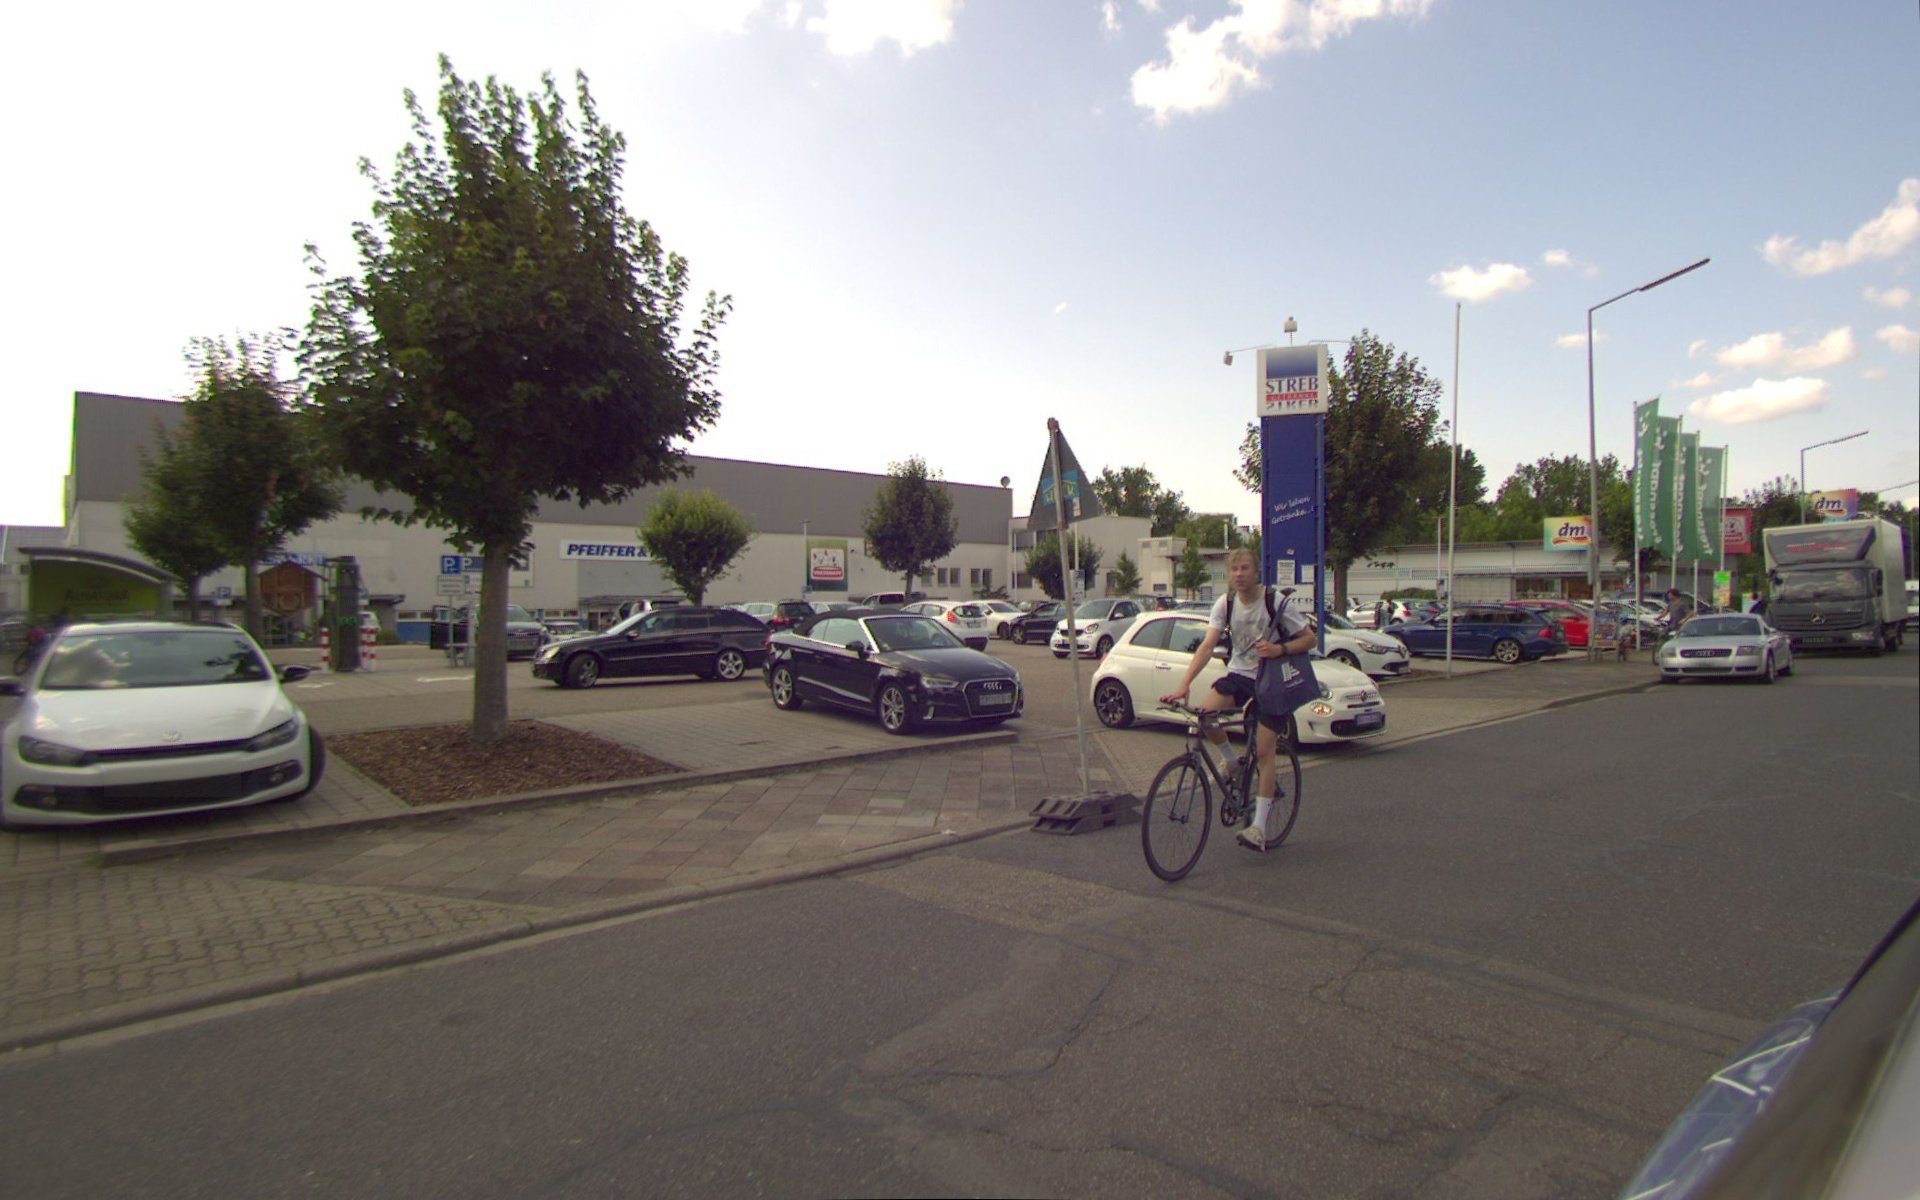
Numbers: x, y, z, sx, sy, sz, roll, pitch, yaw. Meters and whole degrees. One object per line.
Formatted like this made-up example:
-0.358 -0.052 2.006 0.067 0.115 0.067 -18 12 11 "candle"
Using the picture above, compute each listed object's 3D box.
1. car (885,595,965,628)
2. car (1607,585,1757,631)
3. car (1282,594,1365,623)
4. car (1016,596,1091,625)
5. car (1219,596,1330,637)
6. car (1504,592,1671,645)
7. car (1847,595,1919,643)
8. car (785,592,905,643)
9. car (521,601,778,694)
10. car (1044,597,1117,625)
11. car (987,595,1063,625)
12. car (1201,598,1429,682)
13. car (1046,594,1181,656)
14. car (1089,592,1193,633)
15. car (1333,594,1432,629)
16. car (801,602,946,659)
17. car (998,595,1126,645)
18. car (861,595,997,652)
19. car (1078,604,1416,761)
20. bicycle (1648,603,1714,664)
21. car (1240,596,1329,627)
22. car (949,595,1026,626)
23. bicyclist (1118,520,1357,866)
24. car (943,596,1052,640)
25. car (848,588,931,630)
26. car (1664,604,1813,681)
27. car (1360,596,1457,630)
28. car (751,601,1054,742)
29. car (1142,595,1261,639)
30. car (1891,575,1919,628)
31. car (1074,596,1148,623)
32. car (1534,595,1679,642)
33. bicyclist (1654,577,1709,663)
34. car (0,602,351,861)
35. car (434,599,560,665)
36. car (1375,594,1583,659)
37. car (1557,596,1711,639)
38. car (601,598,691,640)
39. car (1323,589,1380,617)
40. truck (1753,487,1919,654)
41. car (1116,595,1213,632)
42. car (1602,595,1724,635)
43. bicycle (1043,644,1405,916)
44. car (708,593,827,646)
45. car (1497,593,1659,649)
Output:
-1.747 0.520 49.437 1.696 1.502 3.925 0 1 -44 "car"
30.441 0.291 42.779 1.870 1.810 4.899 0 1 -42 "car"
19.674 0.428 54.888 1.696 1.502 3.938 0 1 -44 "car"
5.170 0.537 56.078 1.696 1.502 4.008 0 1 -44 "car"
12.582 0.615 40.582 1.696 1.502 3.938 0 1 -44 "car"
19.966 0.527 32.307 4.285 1.562 1.722 1 1 43 "car"
31.465 0.629 34.465 3.566 1.531 1.545 0 -3 -44 "car"
-3.785 0.523 32.819 1.696 1.502 4.120 0 1 -44 "car"
-5.772 0.806 18.943 4.301 1.428 1.688 -2 1 -30 "car"
6.881 0.590 57.919 1.696 1.502 4.017 0 1 -44 "car"
3.461 0.495 54.611 1.696 1.502 4.026 0 1 -44 "car"
7.060 0.713 20.363 1.767 1.428 3.955 0 1 -45 "car"
4.136 0.636 27.028 3.692 1.539 1.719 0 -1 -45 "car"
7.549 0.493 42.394 1.712 1.597 4.060 0 1 -44 "car"
19.589 0.506 47.038 1.696 1.502 3.938 0 1 -44 "car"
-2.415 0.771 27.575 1.765 1.355 4.107 0 1 -44 "car"
3.272 0.599 32.854 1.696 1.502 3.997 0 1 -44 "car"
-0.966 0.630 29.610 1.696 1.502 4.061 0 1 -44 "car"
3.268 0.836 12.069 1.658 1.488 3.610 0 1 -38 "car"
16.967 0.751 23.807 1.849 1.310 0.794 -1 3 -41 "bicycle"
16.298 0.548 50.989 1.696 1.502 3.938 0 1 -44 "car"
1.416 0.527 53.066 1.696 1.502 4.033 0 1 -44 "car"
1.661 0.493 6.018 1.186 1.816 0.807 0 -2 -43 "bicyclist"
1.359 0.618 37.704 1.696 1.502 4.012 0 1 -44 "car"
-3.339 0.385 47.496 1.696 1.823 4.068 0 1 -44 "car"
15.662 0.825 20.295 3.917 1.358 1.662 0 -4 -43 "car"
21.396 0.601 48.371 1.696 1.502 3.938 0 1 -44 "car"
-0.903 0.787 13.246 1.775 1.448 4.187 0 1 -41 "car"
8.822 0.589 37.139 1.712 1.502 3.984 0 1 -44 "car"
46.142 0.055 48.262 5.362 2.440 2.053 0 -3 -43 "car"
8.835 0.518 59.485 1.696 1.502 4.133 0 1 -44 "car"
21.711 0.579 34.072 3.883 1.450 1.722 1 1 43 "car"
16.930 0.447 23.758 0.814 1.933 0.796 0 3 -40 "bicyclist"
-6.572 0.808 8.279 1.956 1.481 4.108 0 1 -43 "car"
-11.901 0.740 25.899 1.696 1.502 4.052 0 1 -44 "car"
12.929 0.599 25.389 1.816 1.462 4.312 0 1 -43 "car"
24.964 0.588 37.596 1.827 1.455 4.486 0 1 -43 "car"
-12.396 0.716 39.798 1.696 1.502 4.187 0 1 -44 "car"
22.872 0.161 59.184 1.619 1.563 2.712 0 0 -43 "car"
25.575 -0.692 29.157 8.137 4.170 2.781 0 -3 -42 "truck"
8.956 0.557 44.610 1.696 1.502 3.938 0 1 -44 "car"
28.507 0.581 41.106 1.625 1.518 3.818 0 0 -41 "car"
1.669 0.906 6.006 2.582 1.195 0.798 -1 -2 -43 "bicycle"
-6.038 0.554 31.433 1.696 1.502 4.044 0 1 -44 "car"
18.383 0.564 30.183 3.883 1.542 1.722 1 0 43 "car"
